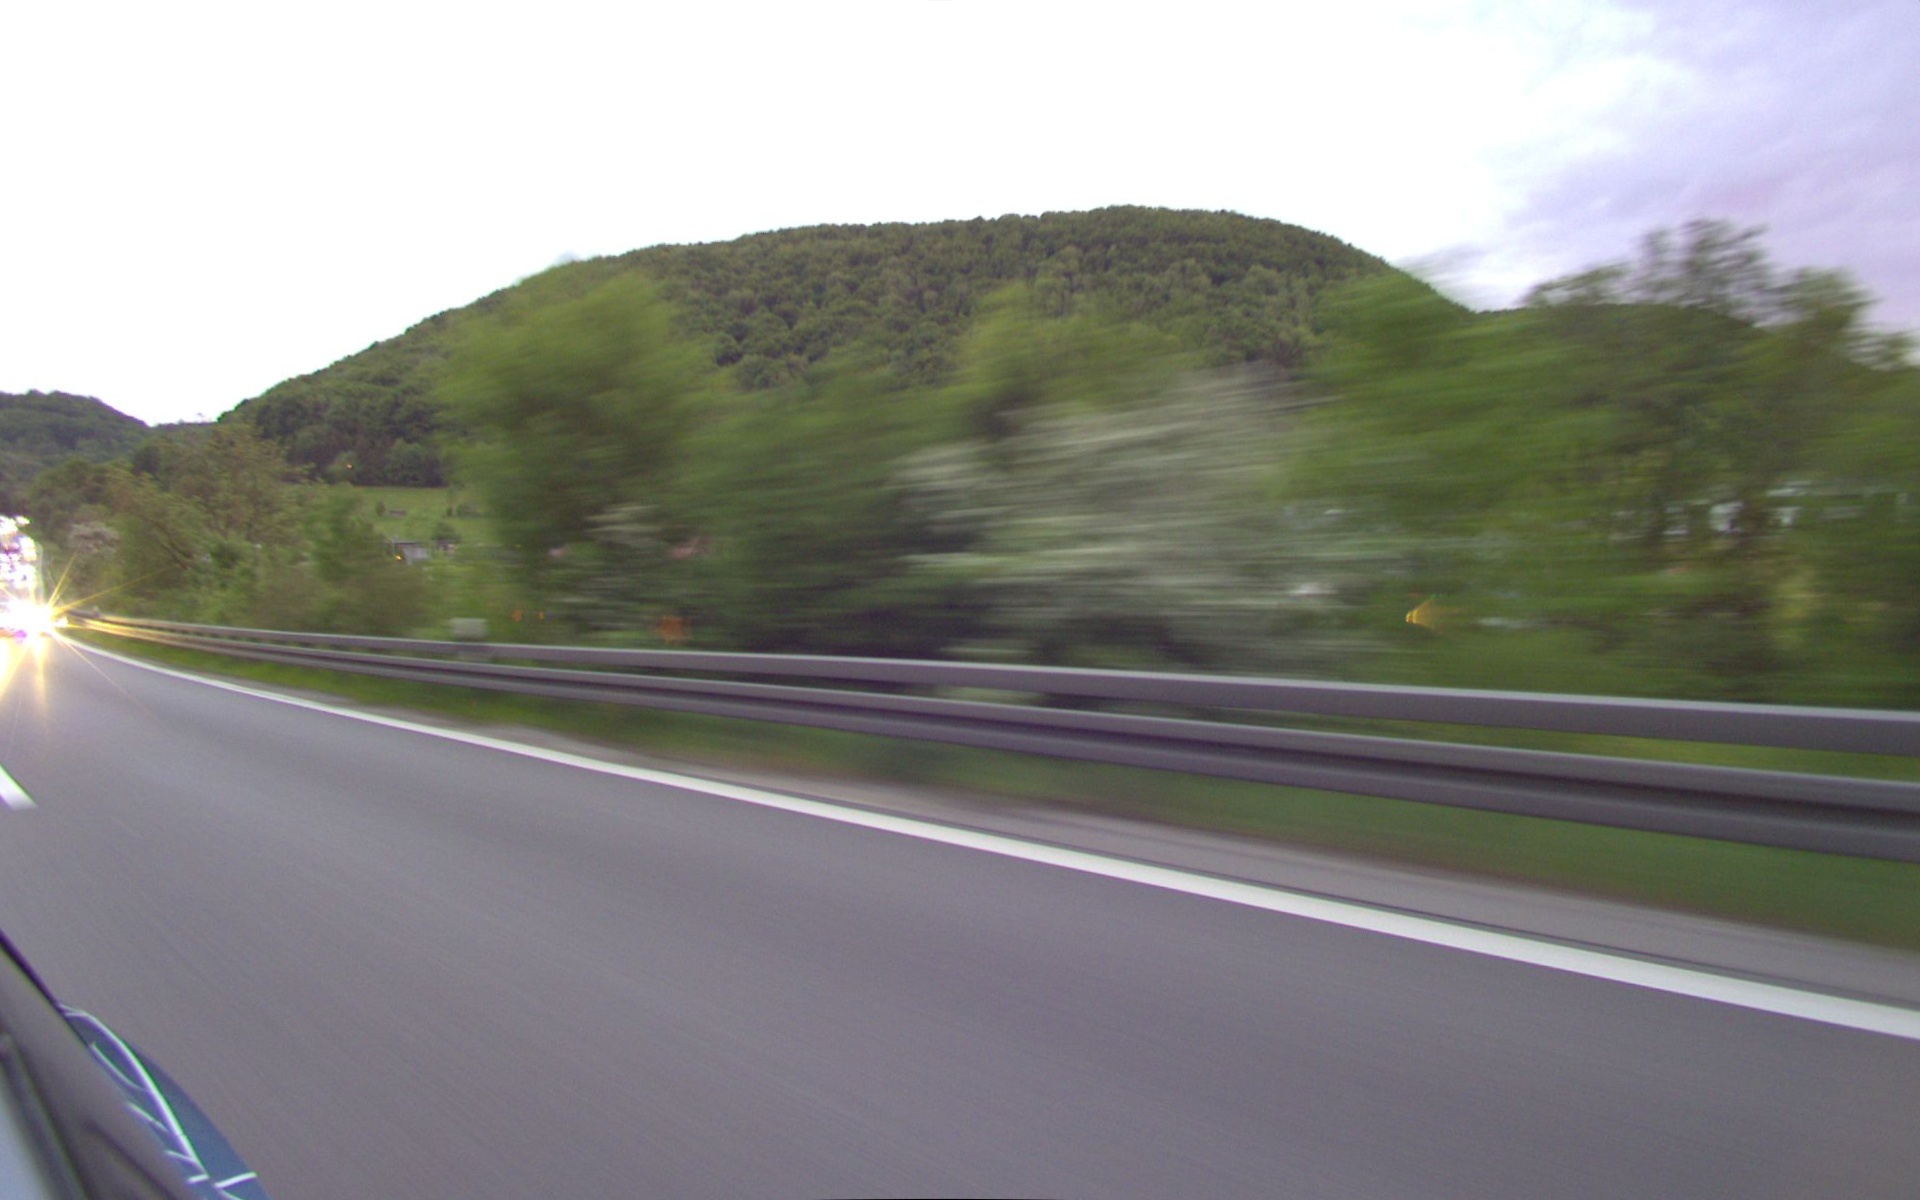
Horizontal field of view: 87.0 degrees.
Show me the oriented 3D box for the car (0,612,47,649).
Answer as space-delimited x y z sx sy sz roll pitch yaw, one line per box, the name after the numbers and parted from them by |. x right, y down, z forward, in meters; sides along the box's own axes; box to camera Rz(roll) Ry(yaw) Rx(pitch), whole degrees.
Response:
-40.416 1.317 43.306 3.767 1.479 1.668 -2 0 43 | car

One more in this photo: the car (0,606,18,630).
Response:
-62.361 1.193 65.661 3.670 1.444 1.667 -2 0 44 | car
